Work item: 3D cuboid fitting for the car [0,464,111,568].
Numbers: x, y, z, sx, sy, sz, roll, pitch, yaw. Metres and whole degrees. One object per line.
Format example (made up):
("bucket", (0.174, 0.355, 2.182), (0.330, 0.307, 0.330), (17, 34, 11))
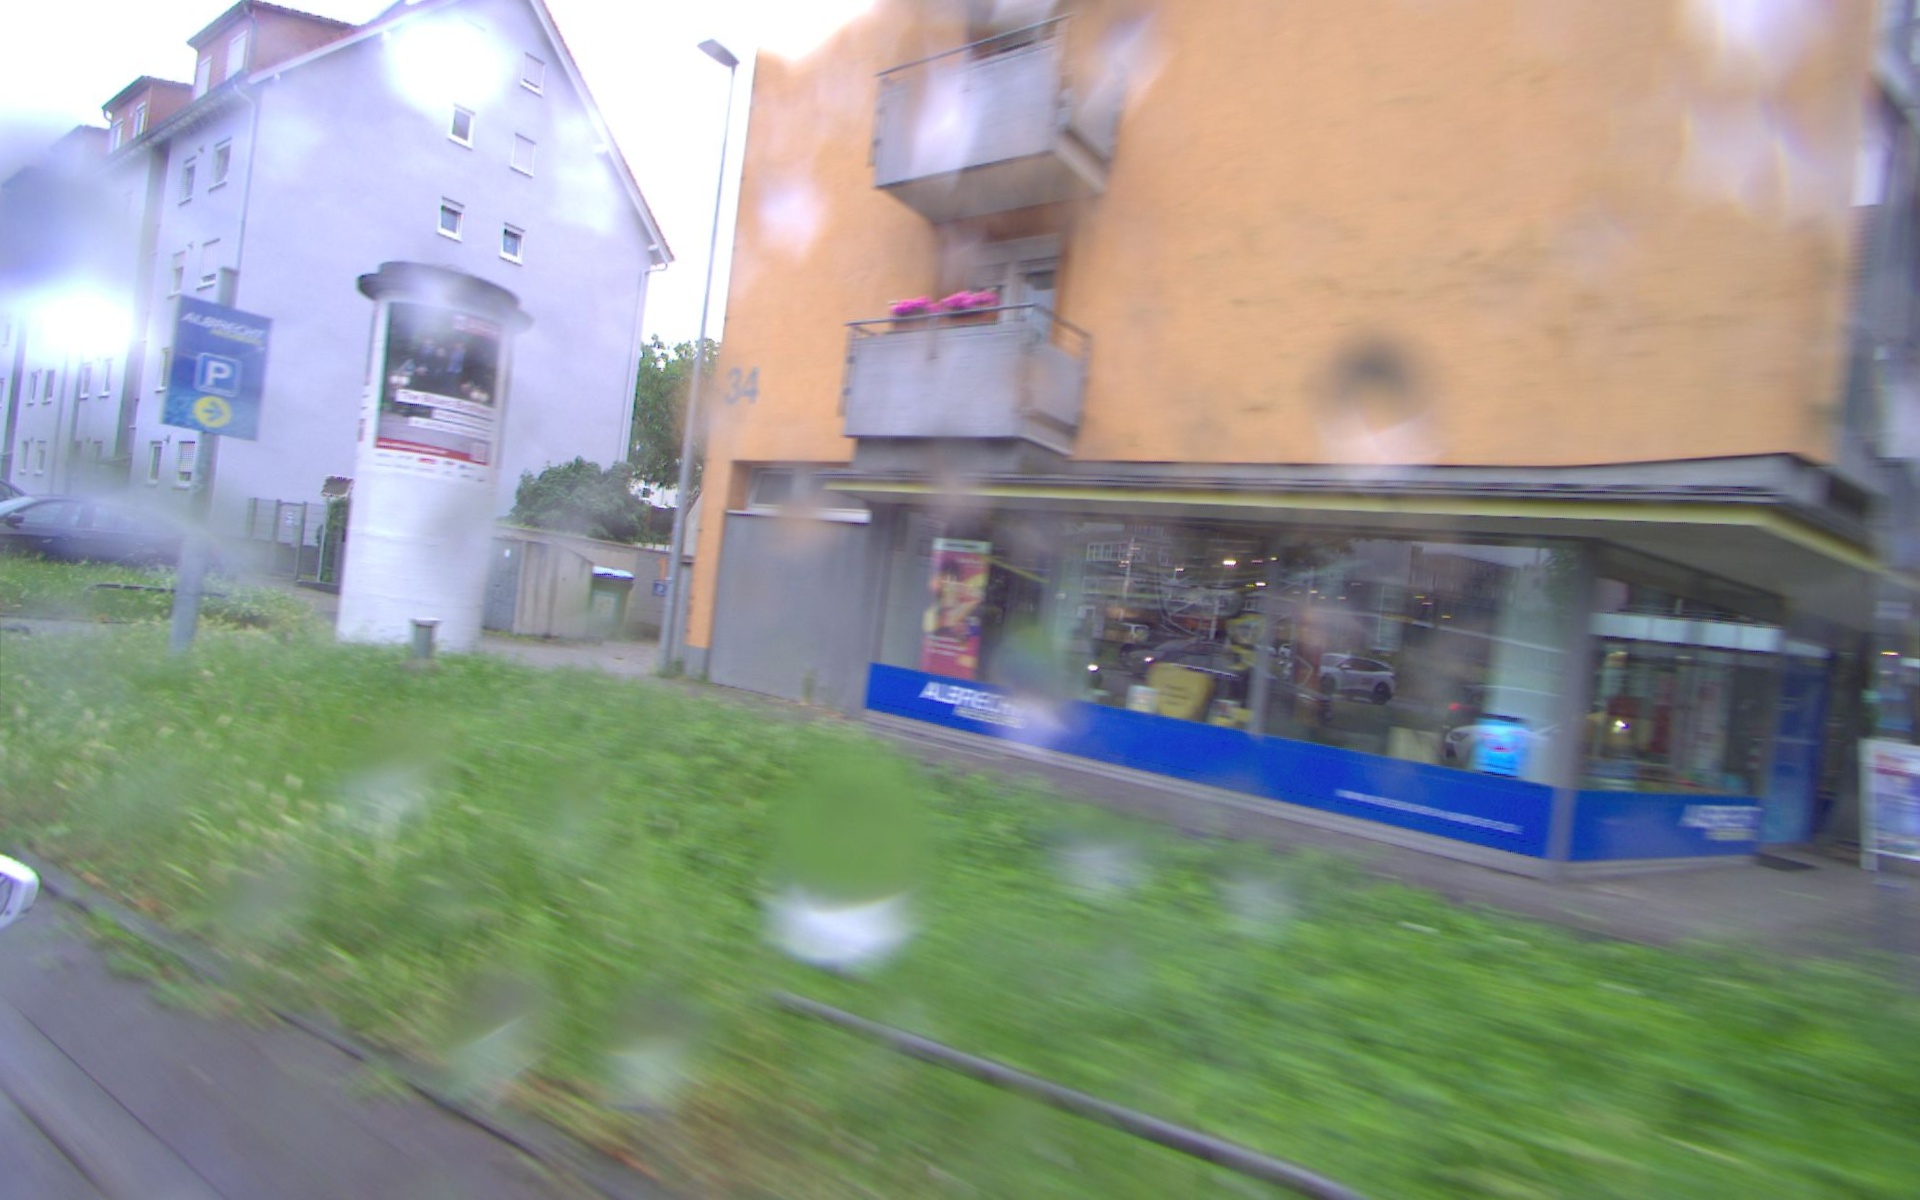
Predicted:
("car", (-19.433, -1.806, 19.395), (1.913, 1.827, 4.234), (7, 0, 34))

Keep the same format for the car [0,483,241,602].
("car", (-14.309, -0.980, 15.731), (1.953, 1.488, 4.532), (7, 0, 37))

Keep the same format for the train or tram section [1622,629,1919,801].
("train or tram section", (21.141, 2.703, 23.975), (2.601, 3.391, 9.972), (8, -1, -9))

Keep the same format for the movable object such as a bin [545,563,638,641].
("movable object such as a bin", (-7.600, 0.039, 20.759), (1.199, 1.399, 1.199), (7, 0, 35))

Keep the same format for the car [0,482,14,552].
("car", (-23.822, -2.183, 22.003), (1.861, 1.590, 4.184), (7, -2, 36))

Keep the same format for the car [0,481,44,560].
("car", (-21.750, -1.921, 20.499), (1.859, 1.587, 4.192), (7, -1, 35))
